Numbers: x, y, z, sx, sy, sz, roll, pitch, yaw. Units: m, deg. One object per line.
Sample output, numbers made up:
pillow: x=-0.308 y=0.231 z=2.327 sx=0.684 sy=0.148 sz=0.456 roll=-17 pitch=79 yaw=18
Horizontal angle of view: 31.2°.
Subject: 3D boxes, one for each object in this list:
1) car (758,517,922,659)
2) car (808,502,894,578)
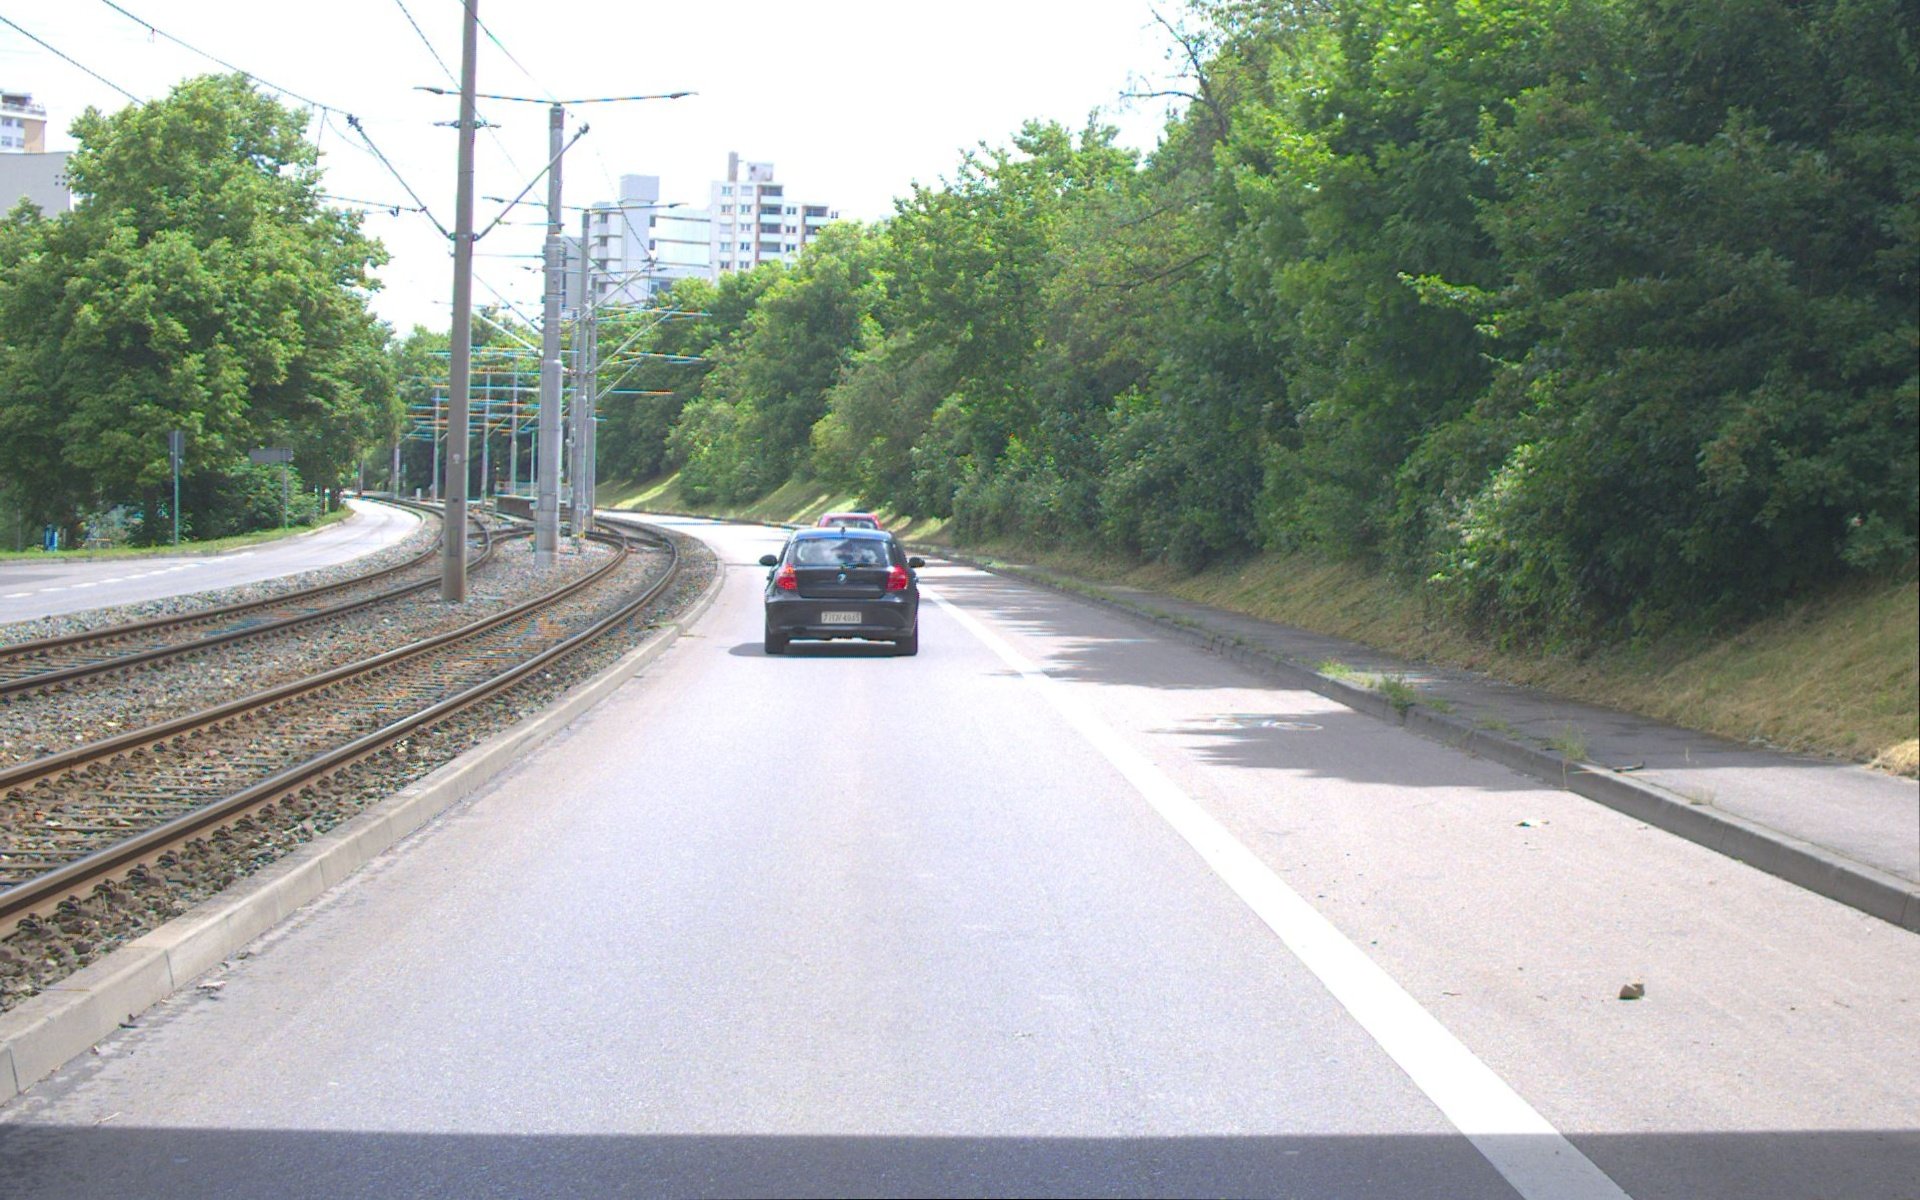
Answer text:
car: x=-1.333 y=-0.152 z=39.312 sx=1.708 sy=1.455 sz=3.960 roll=3 pitch=1 yaw=-1
car: x=-2.272 y=-1.240 z=72.374 sx=1.624 sy=1.438 sz=3.421 roll=3 pitch=-1 yaw=0
